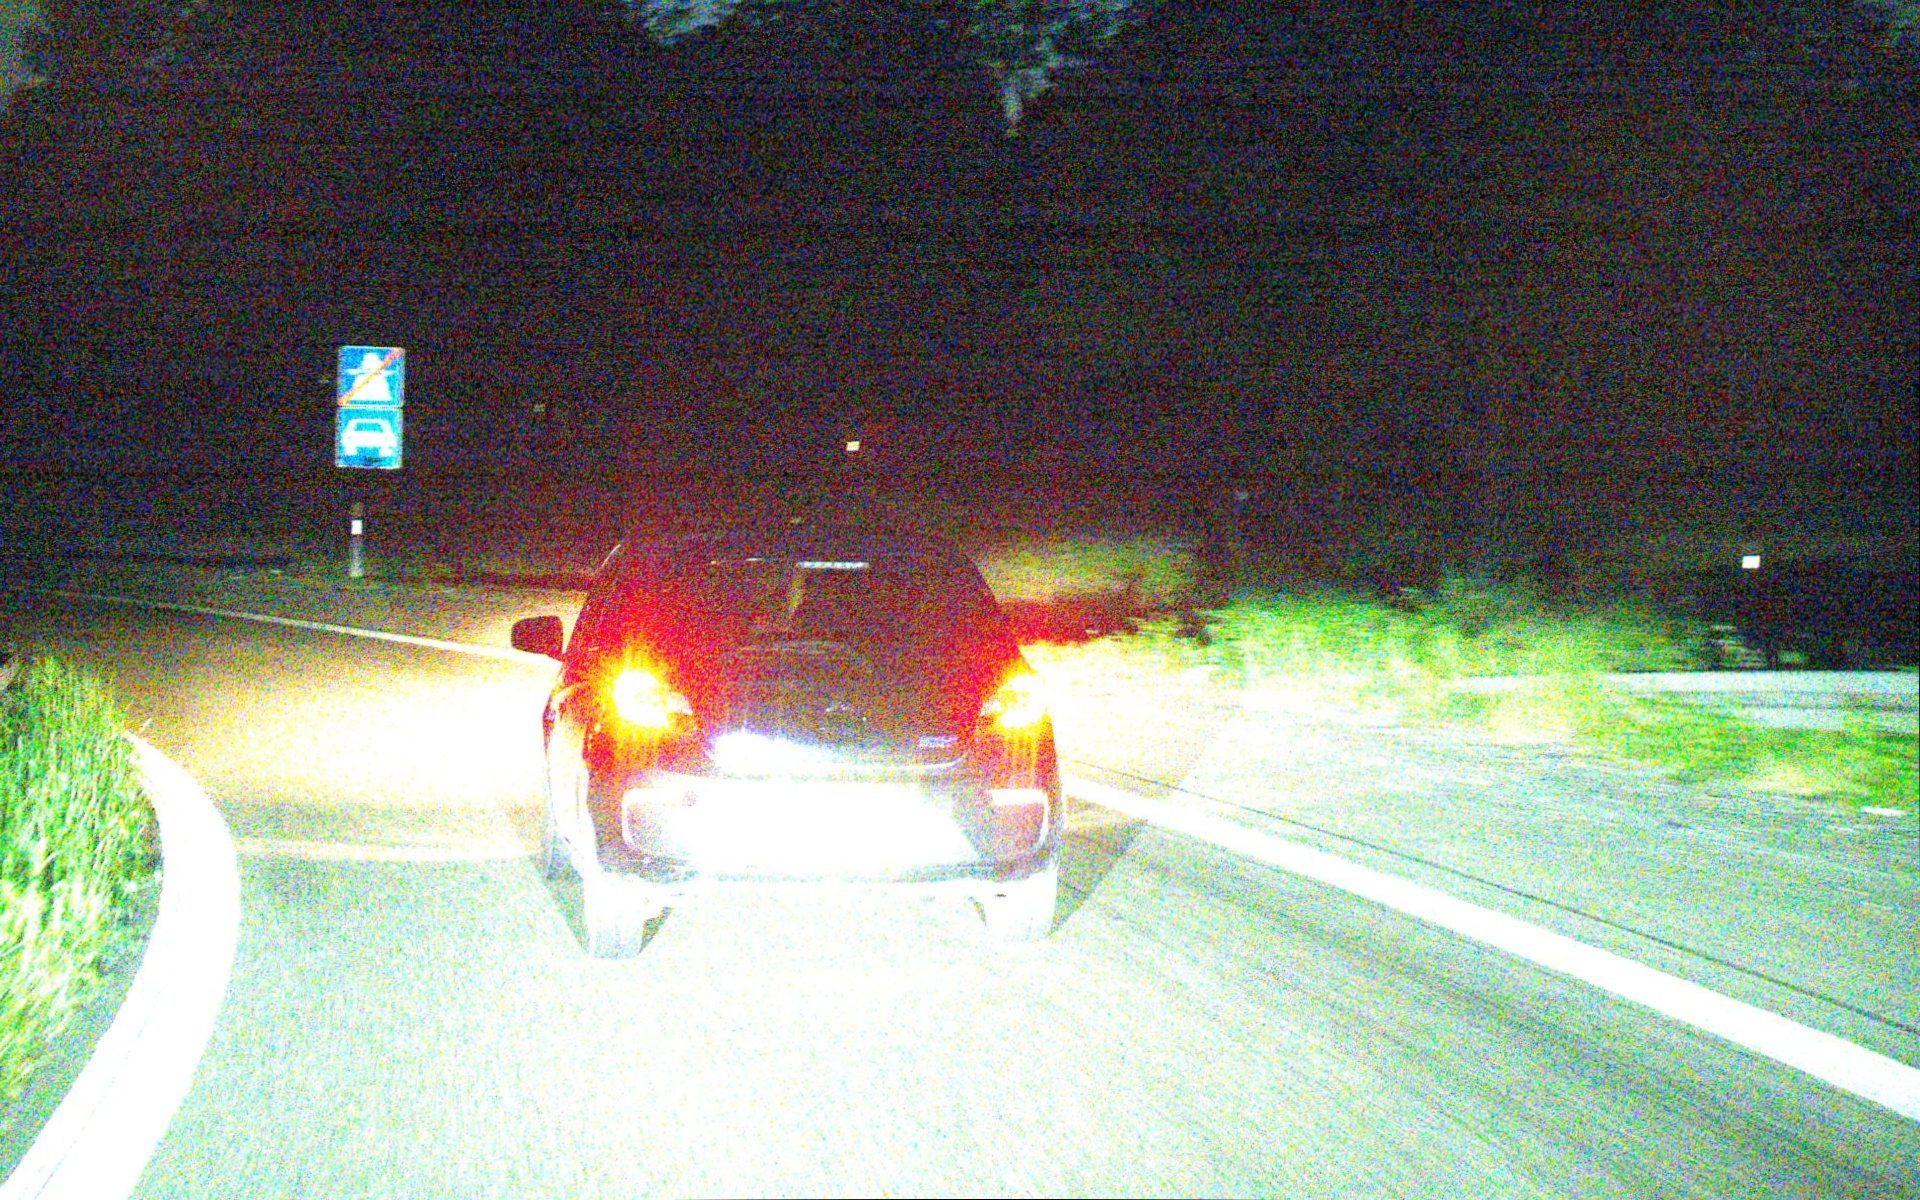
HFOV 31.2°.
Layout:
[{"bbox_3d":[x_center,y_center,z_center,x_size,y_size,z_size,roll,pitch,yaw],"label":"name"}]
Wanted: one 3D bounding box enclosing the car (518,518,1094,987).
[{"bbox_3d":[-0.742,0.482,13.120,1.691,1.473,4.001,-1,0,-10],"label":"car"}]
